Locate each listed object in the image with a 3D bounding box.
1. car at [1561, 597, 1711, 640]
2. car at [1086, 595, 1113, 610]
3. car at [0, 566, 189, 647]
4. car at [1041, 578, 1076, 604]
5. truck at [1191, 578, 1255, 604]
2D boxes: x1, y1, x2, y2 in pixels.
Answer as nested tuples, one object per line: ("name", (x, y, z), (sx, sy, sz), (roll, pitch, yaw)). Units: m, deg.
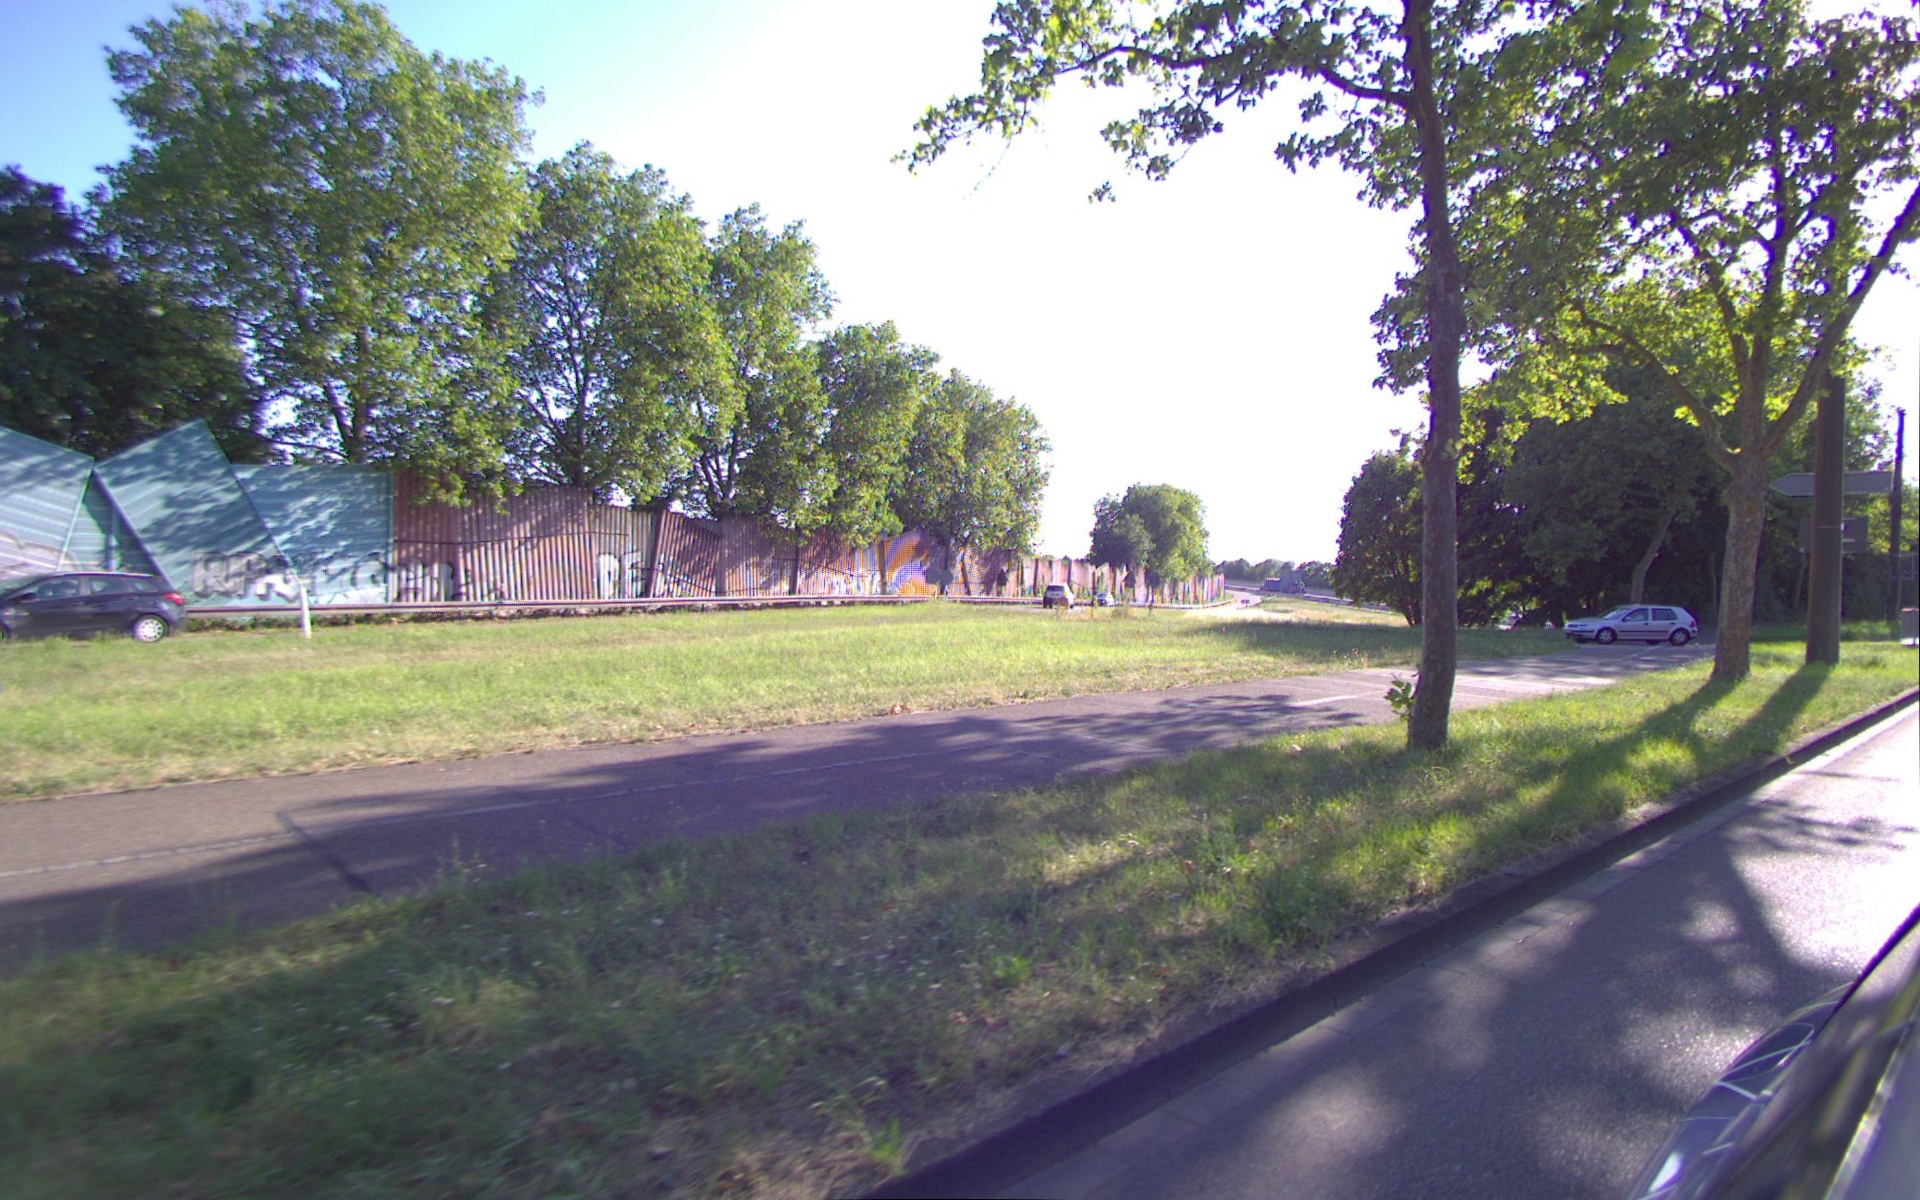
("car", (24.023, 0.648, 36.086), (4.064, 1.435, 1.691), (0, 1, 7))
("car", (14.400, 0.254, 104.274), (1.778, 1.458, 4.191), (1, 1, 23))
("car", (-17.632, 0.097, 19.440), (1.779, 1.458, 4.190), (1, 1, 24))
("car", (6.944, -0.650, 71.240), (1.790, 1.795, 3.842), (0, 1, 16))
("truck", (46.333, -1.645, 178.432), (10.484, 3.536, 2.634), (6, 3, 21))
